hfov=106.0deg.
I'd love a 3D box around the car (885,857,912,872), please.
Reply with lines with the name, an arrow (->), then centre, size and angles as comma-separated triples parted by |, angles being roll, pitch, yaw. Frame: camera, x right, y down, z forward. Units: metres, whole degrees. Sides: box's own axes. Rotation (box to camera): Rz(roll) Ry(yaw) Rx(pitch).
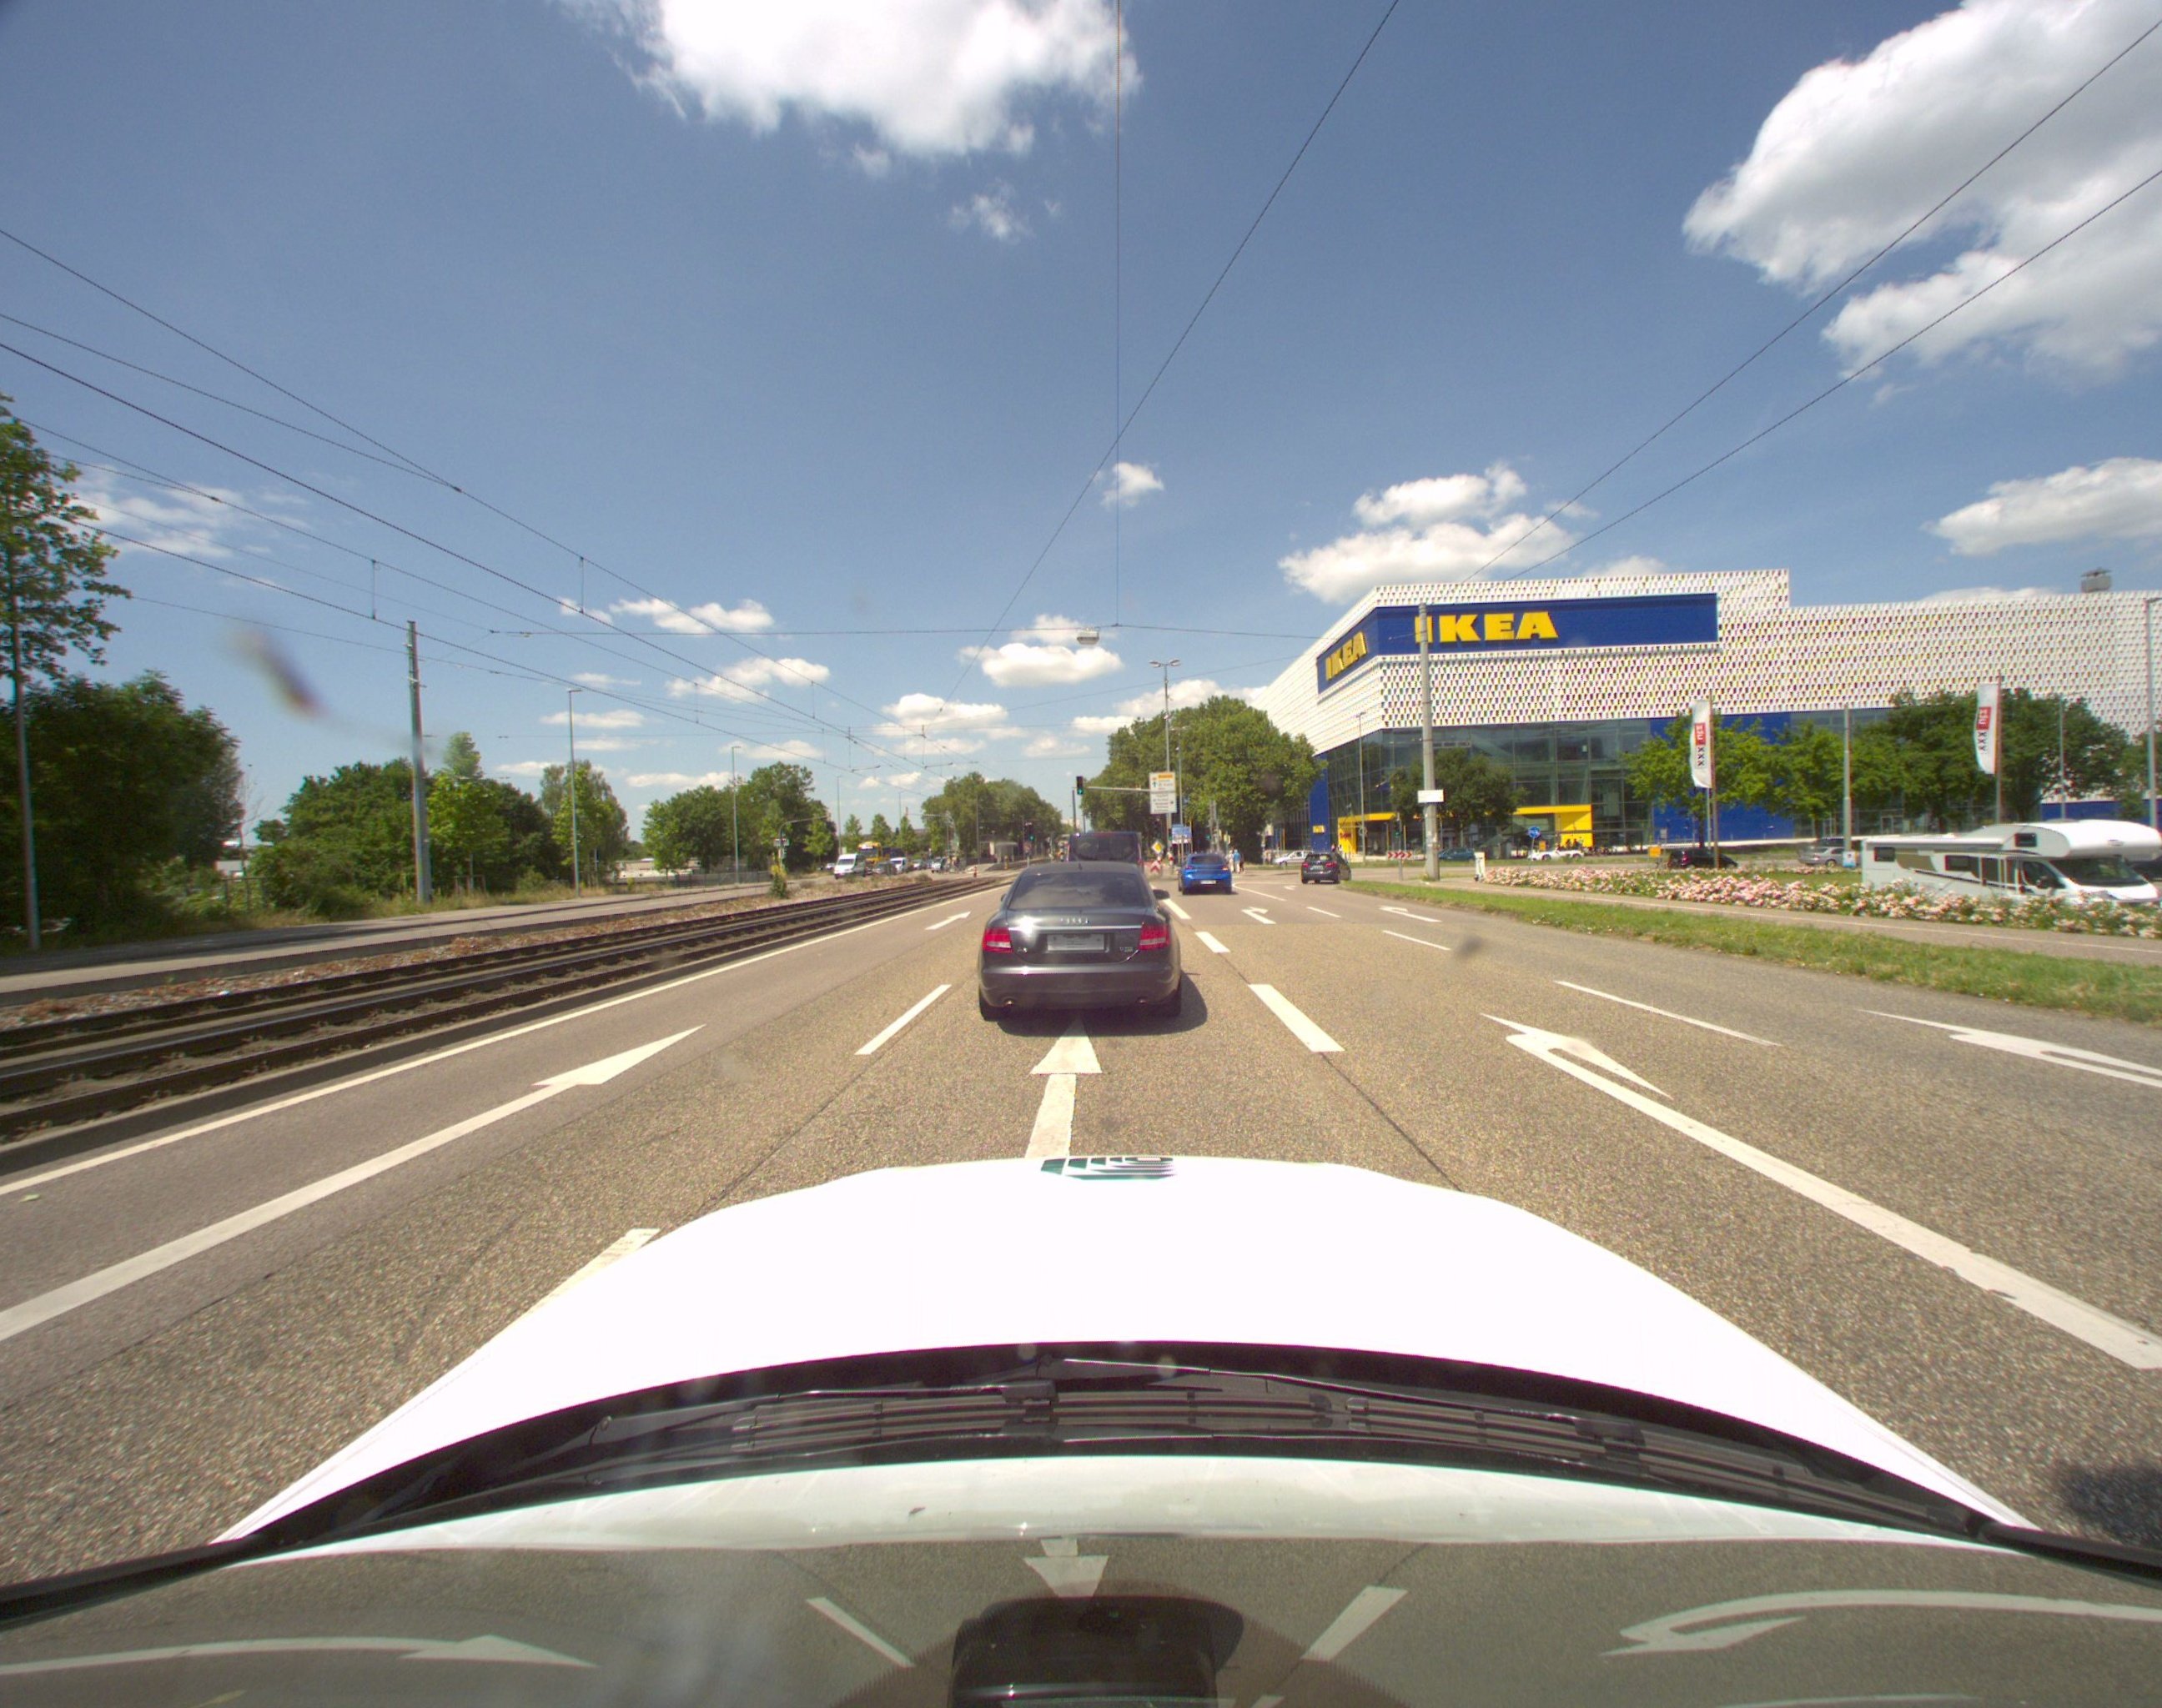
car -> -20.705, 1.195, 92.556 | 1.814, 1.670, 4.465 | 0, 0, 3

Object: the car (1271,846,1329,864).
car -> 18.258, 0.050, 68.046 | 4.475, 1.486, 2.003 | 0, 0, 5

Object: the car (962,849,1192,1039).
car -> 0.042, 0.700, 8.455 | 1.786, 1.455, 4.002 | -2, 0, 2

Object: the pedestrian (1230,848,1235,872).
pedestrian -> 10.502, 0.434, 56.435 | 0.319, 1.635, 0.377 | -1, 0, 5

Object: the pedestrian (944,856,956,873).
pedestrian -> -12.979, 1.032, 80.802 | 0.816, 1.720, 0.779 | -1, 0, 24

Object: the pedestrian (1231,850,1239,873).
pedestrian -> 11.439, 0.553, 60.480 | 0.501, 1.635, 0.449 | -1, 0, 4

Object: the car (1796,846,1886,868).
car -> 52.020, 0.187, 55.794 | 4.129, 1.486, 2.004 | 0, 0, 7

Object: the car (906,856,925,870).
car -> -23.179, 1.303, 114.162 | 1.811, 1.883, 4.001 | -1, 0, 2

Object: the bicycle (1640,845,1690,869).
bicycle -> 36.903, 0.167, 51.481 | 2.410, 1.481, 0.990 | -1, 0, 6

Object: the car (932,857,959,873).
car -> -14.769, 1.171, 88.816 | 1.814, 1.670, 4.467 | 0, 0, 4

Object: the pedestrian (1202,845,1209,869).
pedestrian -> 8.776, 0.206, 57.447 | 0.443, 1.635, 0.430 | -1, 0, 5

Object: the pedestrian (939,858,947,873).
pedestrian -> -13.195, 1.078, 78.008 | 0.683, 1.443, 0.572 | -1, 0, -2

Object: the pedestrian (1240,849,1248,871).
pedestrian -> 12.097, 0.443, 60.421 | 0.518, 1.670, 0.495 | -1, 0, 5

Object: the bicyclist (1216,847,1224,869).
bicyclist -> 11.157, 0.313, 65.499 | 0.525, 1.764, 0.831 | -1, 0, 15

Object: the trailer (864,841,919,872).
trailer -> -23.698, 0.270, 102.893 | 2.757, 3.518, 15.884 | -1, 0, 2

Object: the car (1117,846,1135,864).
car -> 6.069, 0.164, 110.514 | 1.989, 2.309, 4.771 | -1, 0, -2

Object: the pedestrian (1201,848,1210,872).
pedestrian -> 8.817, 0.413, 57.604 | 0.551, 1.635, 0.433 | -1, 0, 4

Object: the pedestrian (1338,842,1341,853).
pedestrian -> 33.099, -0.858, 104.213 | 0.287, 1.342, 0.266 | -1, -1, 1

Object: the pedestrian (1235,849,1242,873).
pedestrian -> 10.925, 0.459, 56.427 | 0.396, 1.635, 0.371 | -1, 0, 4

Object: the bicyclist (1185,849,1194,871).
bicyclist -> 8.457, 0.485, 63.569 | 0.526, 1.676, 1.088 | -1, 0, 2

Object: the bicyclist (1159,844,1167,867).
bicyclist -> 6.594, 0.126, 65.787 | 0.526, 1.789, 1.089 | -1, 0, 2

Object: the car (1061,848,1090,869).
car -> -0.366, 0.317, 60.016 | 1.986, 1.486, 4.002 | 0, 0, 2

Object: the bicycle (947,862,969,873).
bicycle -> -11.653, 1.275, 77.158 | 2.055, 0.925, 0.751 | -1, 0, -8

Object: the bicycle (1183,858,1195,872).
bicycle -> 8.409, 0.828, 63.572 | 0.685, 1.006, 2.753 | -1, 0, 2

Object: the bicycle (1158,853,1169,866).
bicycle -> 6.685, 0.421, 65.941 | 0.685, 0.993, 2.753 | -1, 0, 2

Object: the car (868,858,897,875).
car -> -20.813, 1.318, 85.704 | 1.815, 1.670, 4.463 | 0, 0, 2

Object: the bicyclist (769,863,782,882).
bicyclist -> -29.061, 1.790, 77.425 | 1.116, 1.774, 0.340 | -1, 0, -3

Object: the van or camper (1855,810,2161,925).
van or camper -> 28.177, 0.343, 24.998 | 2.494, 3.020, 7.235 | -1, 0, 6

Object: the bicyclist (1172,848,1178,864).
bicyclist -> 7.470, 0.166, 64.760 | 0.468, 1.193, 0.792 | -1, 0, 4

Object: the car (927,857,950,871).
car -> -17.936, 1.203, 102.502 | 1.814, 1.670, 4.467 | 0, 0, 5

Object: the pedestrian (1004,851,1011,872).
pedestrian -> -7.218, 0.702, 79.963 | 0.683, 2.014, 0.572 | -1, 0, -3

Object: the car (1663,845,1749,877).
car -> 41.767, 0.476, 54.525 | 4.164, 2.013, 2.001 | -1, 0, 2

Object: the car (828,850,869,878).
car -> -24.239, 0.979, 85.307 | 2.235, 2.588, 6.236 | -4, 1, 1

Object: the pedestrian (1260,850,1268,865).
pedestrian -> 19.175, 0.347, 85.342 | 0.698, 1.544, 0.681 | -1, 0, 21

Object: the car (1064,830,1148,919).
car -> 0.613, 0.464, 20.200 | 1.830, 1.950, 4.001 | -1, 0, 2

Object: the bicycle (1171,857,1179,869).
bicycle -> 7.480, 0.707, 64.823 | 0.547, 0.877, 1.699 | -1, 0, 3

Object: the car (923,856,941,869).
car -> -22.626, 1.321, 123.803 | 1.811, 1.883, 4.001 | -1, 0, 2

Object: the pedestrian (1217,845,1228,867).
pedestrian -> 12.174, 0.166, 70.034 | 0.678, 1.846, 0.711 | -1, 0, 27

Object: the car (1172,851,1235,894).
car -> 4.371, 0.615, 29.577 | 1.830, 1.454, 4.002 | 0, 0, 2

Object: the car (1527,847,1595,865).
car -> 39.699, 0.175, 67.403 | 4.475, 1.486, 2.003 | 0, 0, 5

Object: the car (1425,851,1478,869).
car -> 32.180, 0.487, 70.762 | 3.770, 1.486, 2.003 | 0, 0, 5

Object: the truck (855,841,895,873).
truck -> -23.940, 0.304, 95.026 | 2.757, 3.569, 6.442 | -1, 0, 2

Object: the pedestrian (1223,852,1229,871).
pedestrian -> 10.035, 0.504, 56.502 | 0.371, 1.304, 0.365 | -1, 0, 5

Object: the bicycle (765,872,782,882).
bicycle -> -29.237, 2.183, 77.435 | 1.487, 0.987, 0.485 | -1, 0, -2

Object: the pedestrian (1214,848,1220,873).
pedestrian -> 9.304, 0.442, 55.655 | 0.379, 1.635, 0.377 | -1, 0, 5

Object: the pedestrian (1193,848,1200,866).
pedestrian -> 10.198, 0.255, 71.774 | 0.490, 1.520, 0.710 | -1, 0, 19

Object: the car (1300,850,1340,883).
car -> 11.841, 0.596, 40.545 | 1.748, 1.526, 4.116 | -1, 0, 15
